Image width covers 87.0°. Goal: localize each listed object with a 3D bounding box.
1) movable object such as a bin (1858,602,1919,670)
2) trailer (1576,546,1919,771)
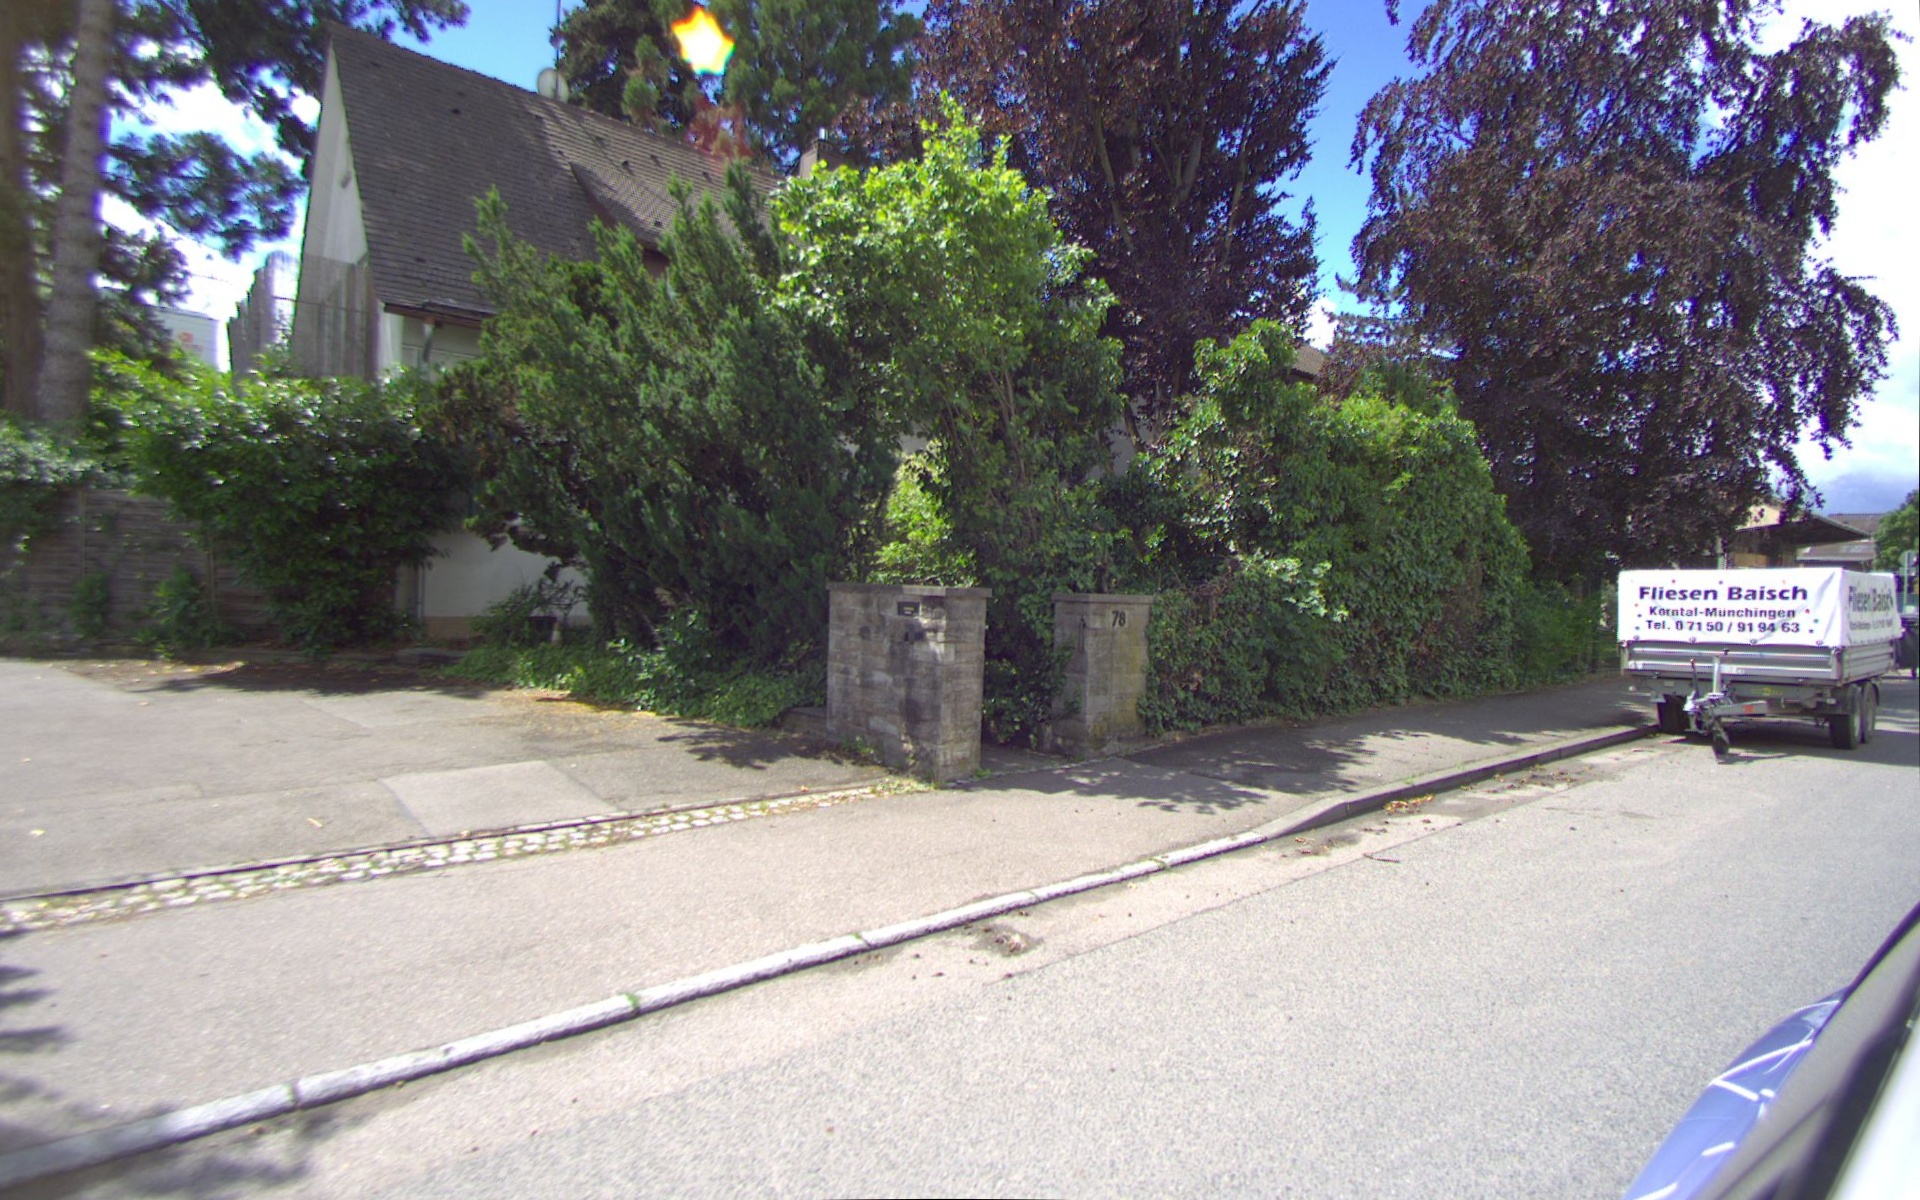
[{"bbox_3d":[19.478,0.729,20.879,1.332,1.307,1.117,0,2,-36],"label":"movable object such as a bin"},{"bbox_3d":[8.403,0.470,10.603,4.681,1.846,1.997,0,0,-41],"label":"trailer"}]
